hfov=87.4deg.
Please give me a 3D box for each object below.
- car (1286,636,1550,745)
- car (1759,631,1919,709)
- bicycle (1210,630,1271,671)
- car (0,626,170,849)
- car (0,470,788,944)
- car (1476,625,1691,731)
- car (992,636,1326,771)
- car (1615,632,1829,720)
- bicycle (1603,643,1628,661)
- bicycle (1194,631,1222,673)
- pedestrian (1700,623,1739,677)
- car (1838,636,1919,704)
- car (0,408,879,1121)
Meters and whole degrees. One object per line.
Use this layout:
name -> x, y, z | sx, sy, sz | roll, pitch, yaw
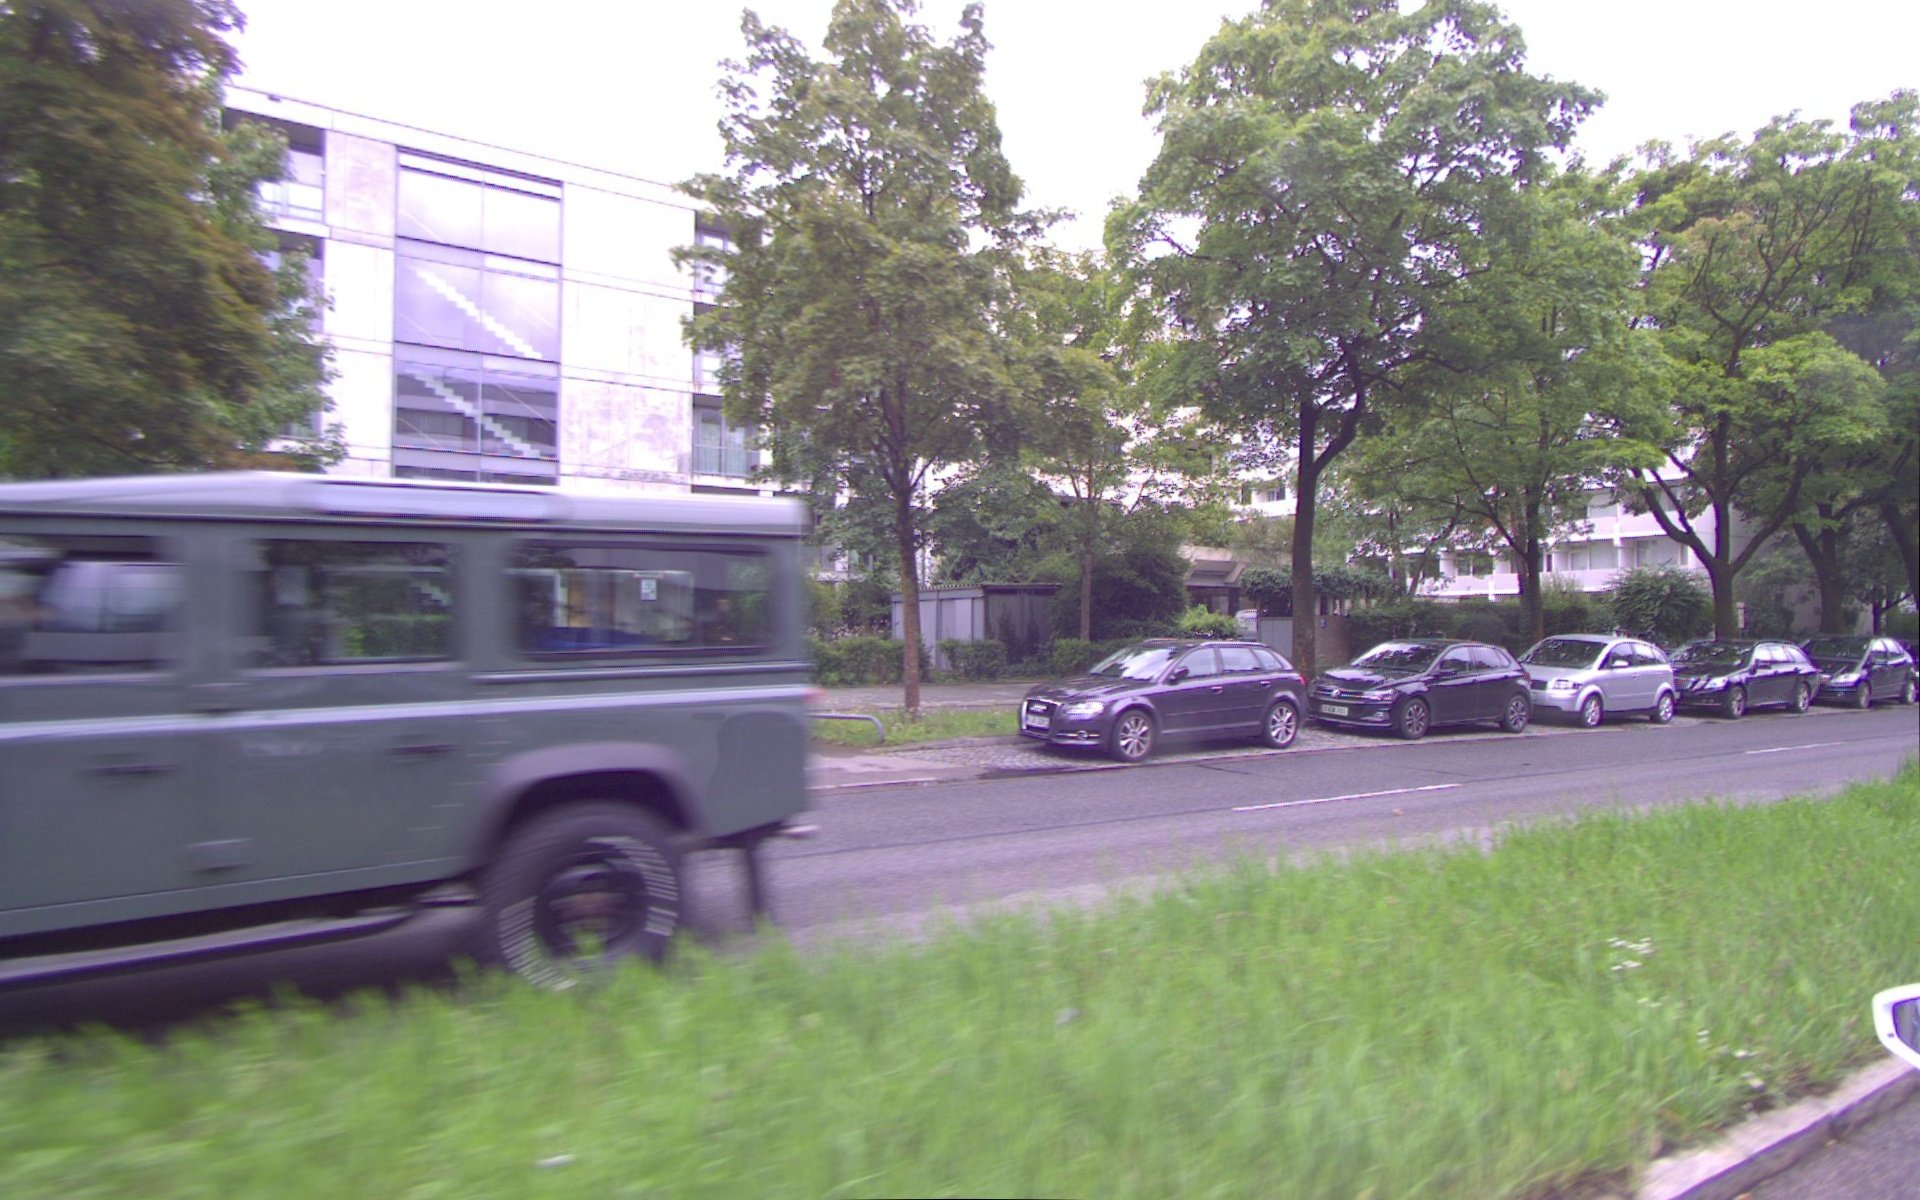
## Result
car -> 7.244, 1.336, 15.814 | 4.140, 1.442, 1.618 | 1, 1, -29
car -> 20.676, 1.577, 23.461 | 4.159, 1.618, 1.678 | 1, 1, -29
bicycle -> 8.595, 1.533, 30.860 | 0.527, 1.243, 1.840 | 1, -2, -40
car -> -8.531, 0.938, 6.806 | 4.766, 1.468, 1.728 | 1, 1, -30
car -> -4.156, 0.571, 6.199 | 5.731, 2.222, 2.199 | 1, -3, -30
car -> 11.266, 1.331, 18.122 | 3.820, 1.670, 1.618 | 1, 1, -29
car -> 2.670, 1.236, 13.144 | 4.312, 1.442, 1.572 | 1, 1, -31
car -> 15.724, 1.486, 20.655 | 4.975, 1.545, 1.708 | 1, 1, -30
bicycle -> 33.752, 2.648, 51.709 | 1.433, 0.912, 0.456 | 1, -2, -30
bicycle -> 7.470, 1.548, 30.224 | 0.522, 1.243, 1.860 | 0, -2, 24
pedestrian -> 23.983, 1.578, 31.718 | 0.602, 1.678, 0.843 | 1, -2, -35
car -> 24.745, 1.745, 25.803 | 4.887, 1.533, 1.752 | 1, 1, -29
car -> -2.838, 0.506, 3.896 | 4.761, 2.056, 1.772 | 1, -2, -30
